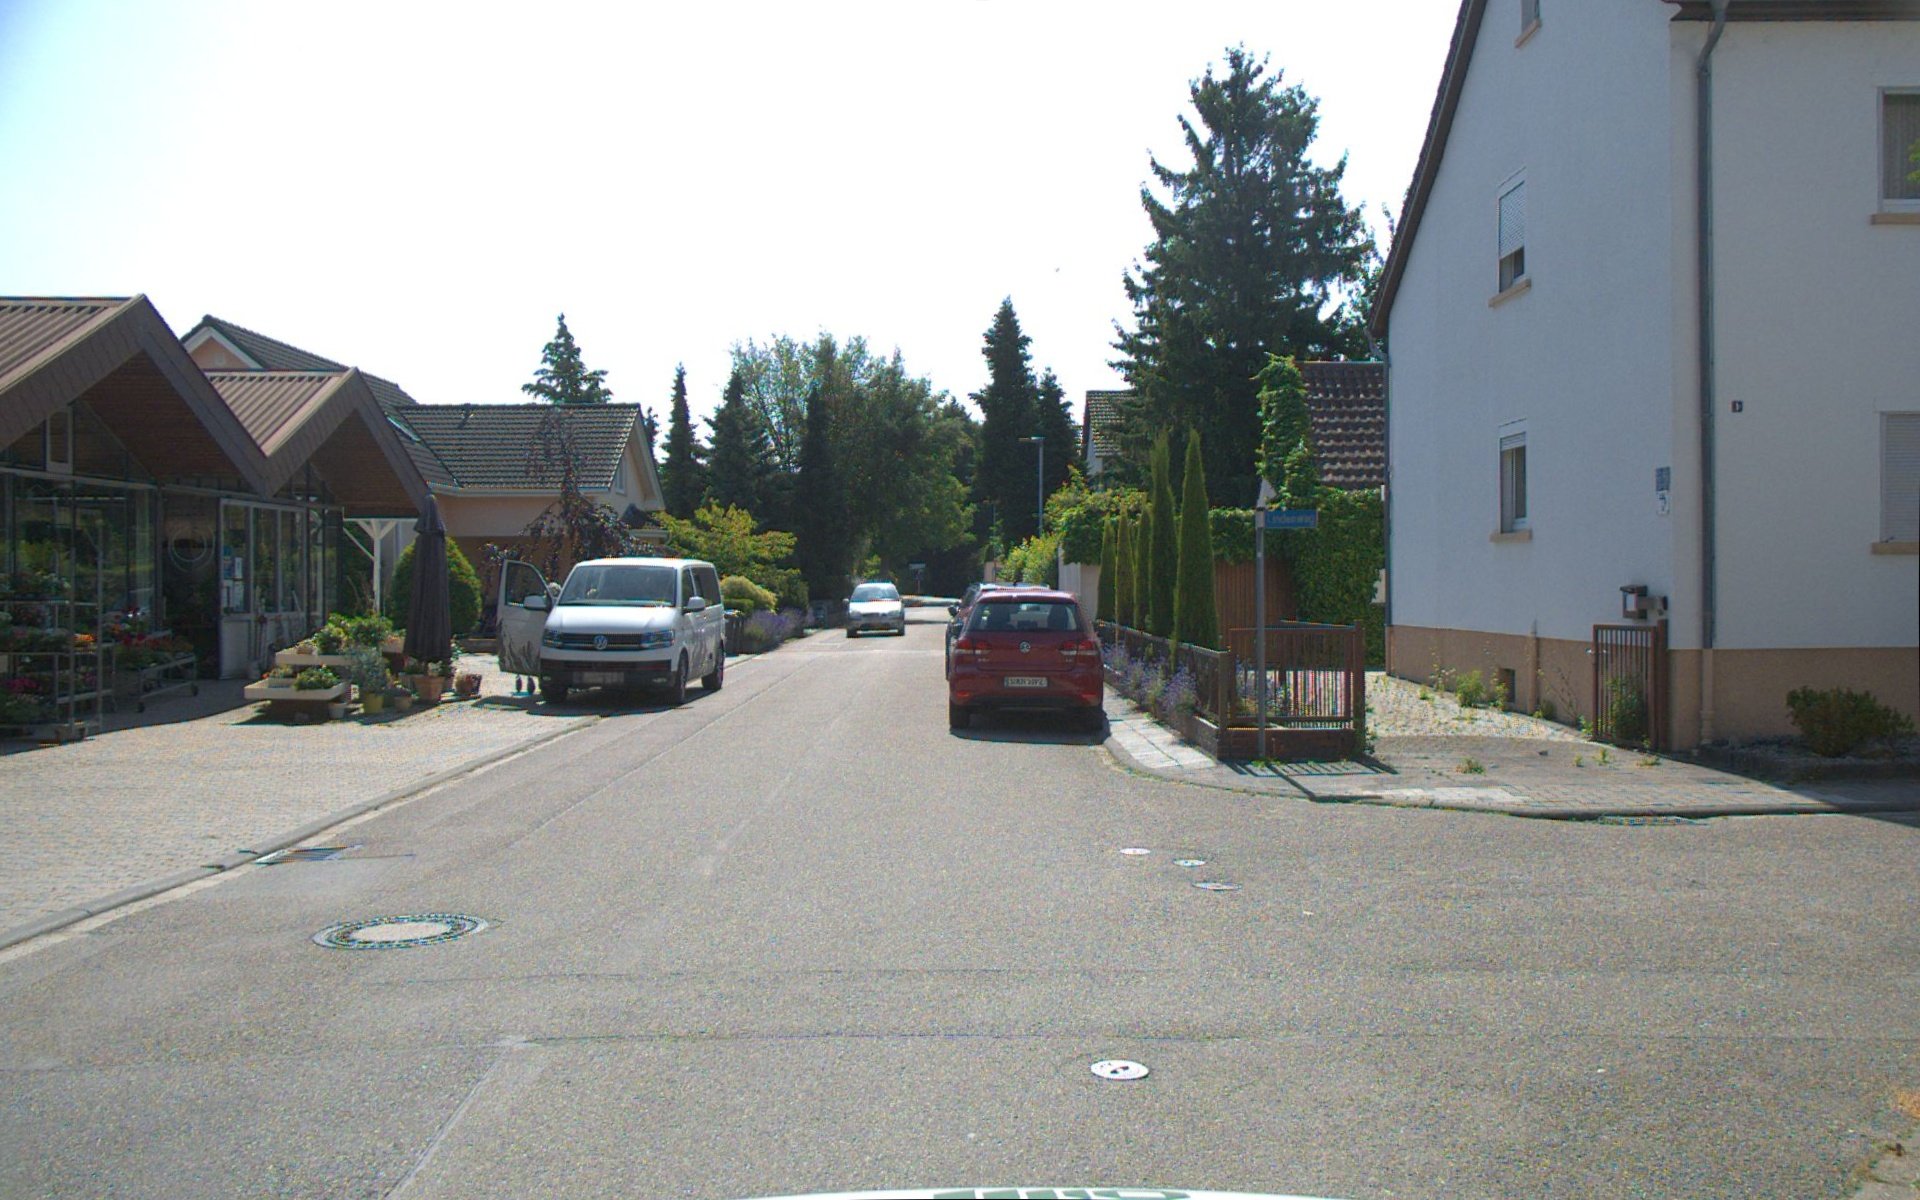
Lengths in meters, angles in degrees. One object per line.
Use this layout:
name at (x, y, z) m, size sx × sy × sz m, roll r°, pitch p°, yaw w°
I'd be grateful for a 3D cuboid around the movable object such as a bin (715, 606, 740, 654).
movable object such as a bin at (-5.172, 0.668, 36.769) m, size 0.484 × 1.042 × 0.447 m, roll -1°, pitch 0°, yaw 0°

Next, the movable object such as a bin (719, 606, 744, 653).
movable object such as a bin at (-5.146, 0.670, 37.278) m, size 0.484 × 1.042 × 0.447 m, roll -1°, pitch 0°, yaw 0°

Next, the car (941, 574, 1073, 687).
car at (0.664, 0.428, 26.173) m, size 1.786 × 1.643 × 3.998 m, roll 0°, pitch 0°, yaw -3°

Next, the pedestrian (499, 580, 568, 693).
pedestrian at (-6.040, 0.501, 23.433) m, size 0.704 × 1.565 × 0.640 m, roll 1°, pitch 1°, yaw 33°

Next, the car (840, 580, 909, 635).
car at (-2.465, 0.201, 48.547) m, size 1.716 × 1.513 × 4.376 m, roll -1°, pitch 0°, yaw 1°

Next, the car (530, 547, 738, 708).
car at (-4.511, 0.337, 23.666) m, size 1.889 × 2.049 × 4.897 m, roll 0°, pitch 0°, yaw 1°

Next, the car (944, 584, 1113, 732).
car at (0.823, 0.595, 19.373) m, size 1.738 × 1.505 × 4.002 m, roll 1°, pitch 0°, yaw 3°
